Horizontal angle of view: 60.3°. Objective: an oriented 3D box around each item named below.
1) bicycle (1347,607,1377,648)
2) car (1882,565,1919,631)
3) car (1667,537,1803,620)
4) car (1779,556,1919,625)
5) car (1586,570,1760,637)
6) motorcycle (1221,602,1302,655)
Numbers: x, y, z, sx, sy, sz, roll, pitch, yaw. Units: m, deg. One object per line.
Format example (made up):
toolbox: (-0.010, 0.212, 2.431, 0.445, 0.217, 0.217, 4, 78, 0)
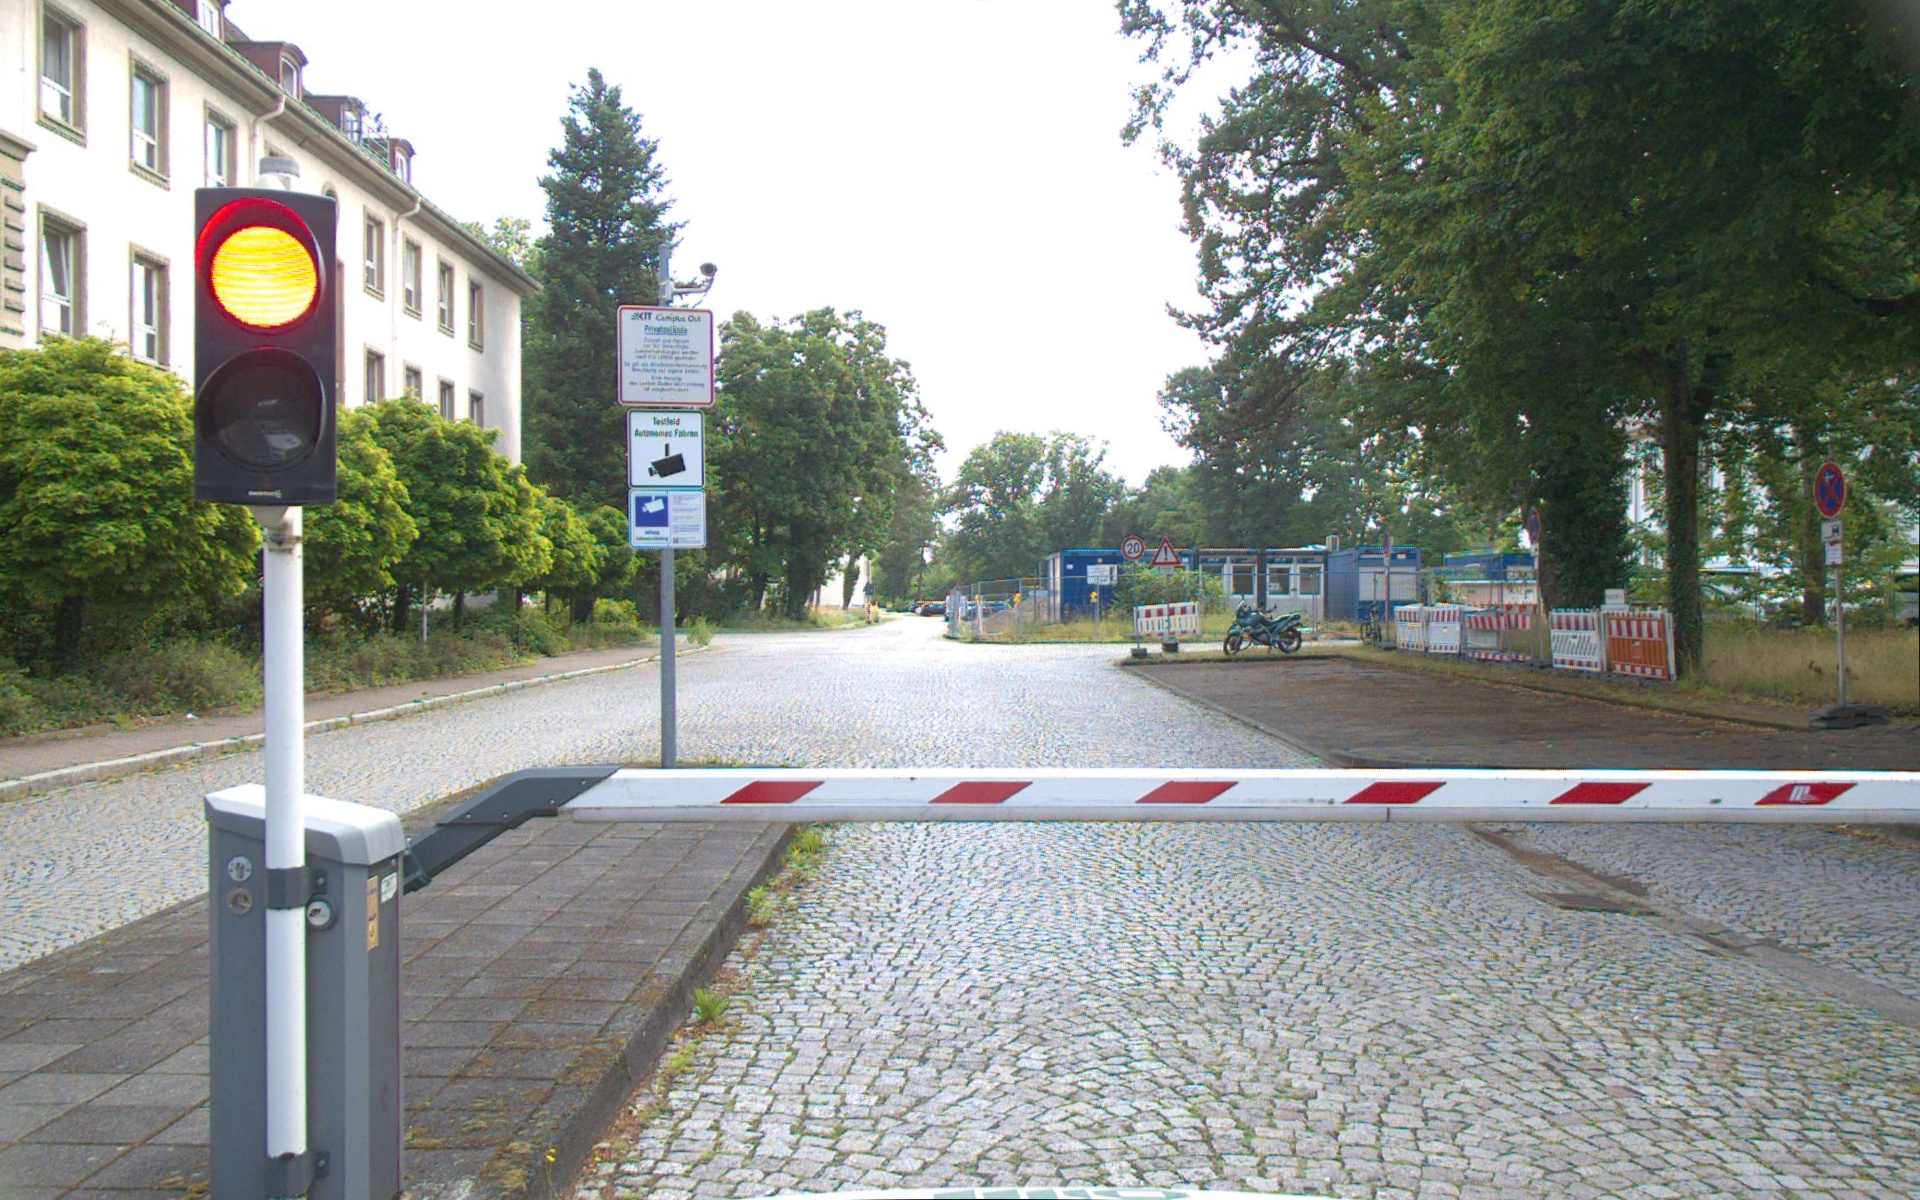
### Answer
bicycle: (10.381, 0.714, 42.750, 0.325, 1.025, 1.725, -1, -2, -1)
car: (26.189, -0.072, 41.760, 1.971, 1.679, 4.795, 0, -1, -28)
car: (24.138, -0.604, 51.762, 1.952, 2.466, 5.358, 0, -1, 3)
car: (28.064, -0.295, 52.210, 1.953, 2.049, 4.839, -1, 0, -1)
car: (20.445, 0.112, 47.550, 4.132, 1.852, 2.000, 0, -1, 1)
motorcycle: (7.493, 0.708, 41.153, 1.917, 1.215, 0.461, -2, 5, -2)
